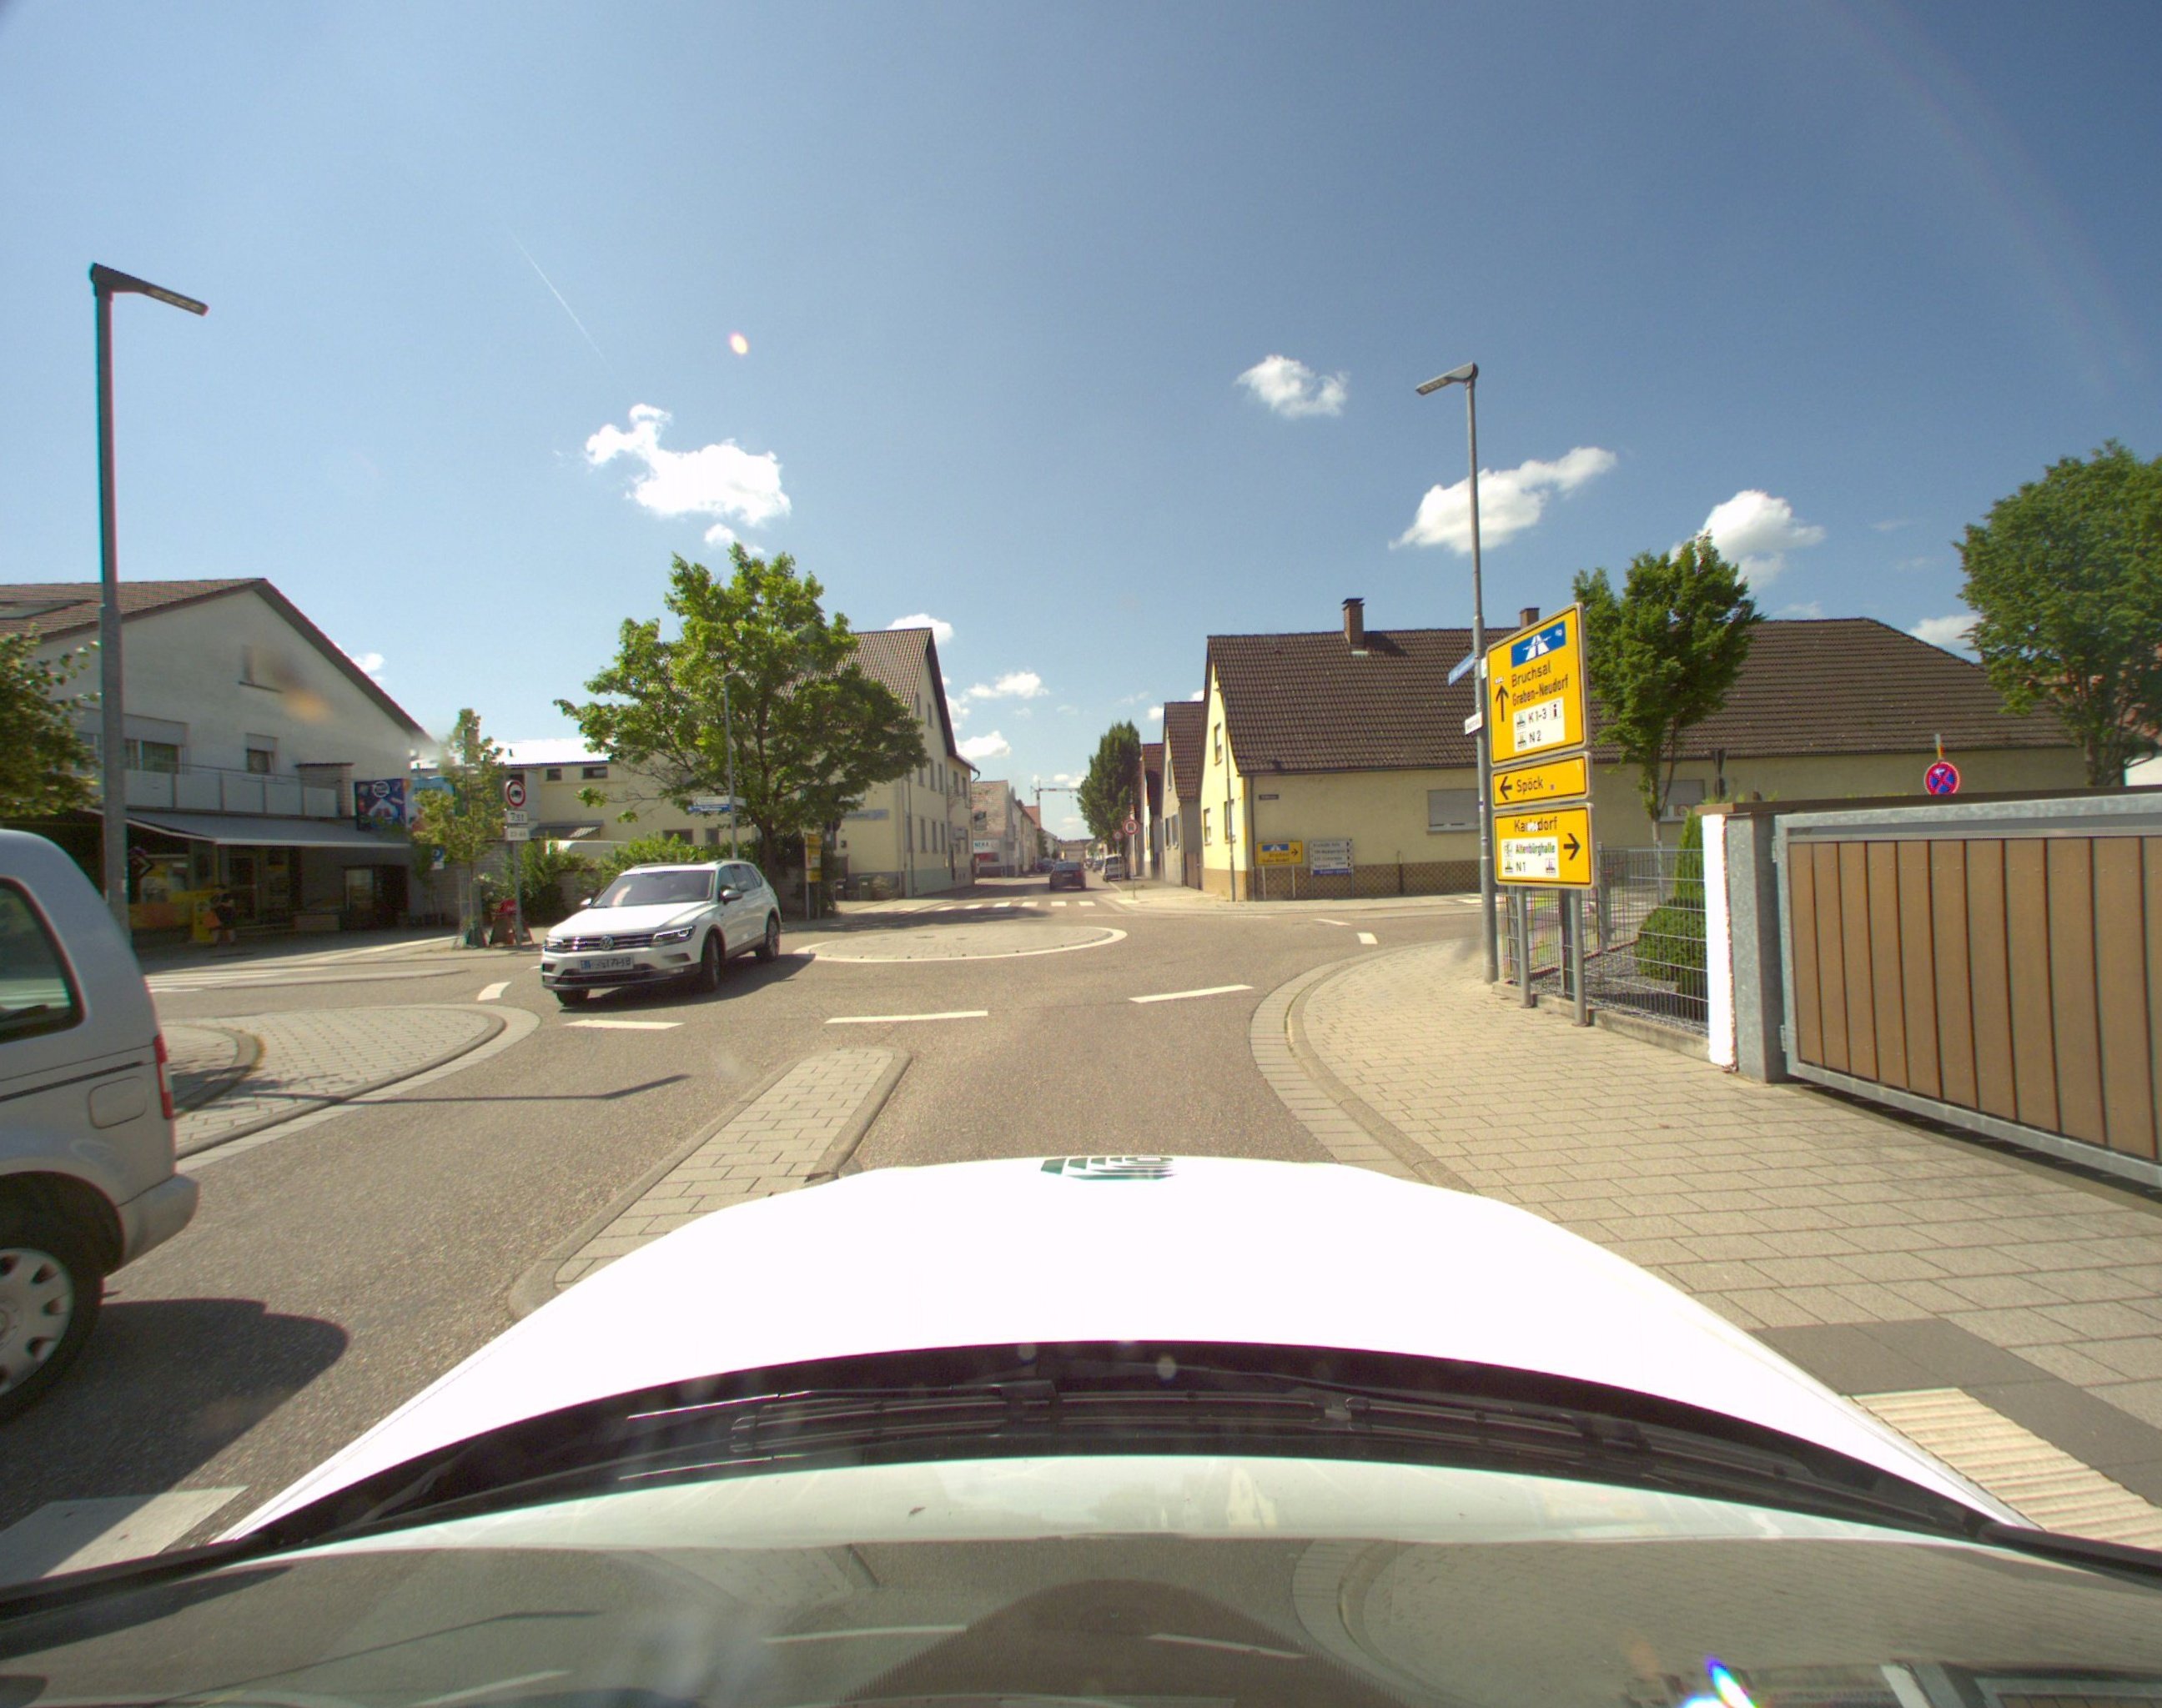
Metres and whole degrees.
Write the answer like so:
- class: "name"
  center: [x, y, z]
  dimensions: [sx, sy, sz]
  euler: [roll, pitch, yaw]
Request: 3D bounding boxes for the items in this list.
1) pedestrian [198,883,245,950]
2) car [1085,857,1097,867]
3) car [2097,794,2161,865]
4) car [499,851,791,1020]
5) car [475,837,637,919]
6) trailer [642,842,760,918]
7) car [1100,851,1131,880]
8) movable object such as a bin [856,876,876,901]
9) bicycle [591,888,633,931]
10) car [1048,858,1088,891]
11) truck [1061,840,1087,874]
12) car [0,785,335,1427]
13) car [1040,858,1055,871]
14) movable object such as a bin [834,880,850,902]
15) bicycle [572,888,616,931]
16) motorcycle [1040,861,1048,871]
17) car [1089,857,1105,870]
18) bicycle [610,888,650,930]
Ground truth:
- class: "pedestrian"
  center: [-21.663, 1.556, 20.533]
  dimensions: [0.869, 1.589, 0.755]
  euler: [-1, 1, 42]
- class: "car"
  center: [1.511, 1.193, 120.798]
  dimensions: [1.714, 1.355, 4.156]
  euler: [-2, 0, 0]
- class: "car"
  center: [32.016, -0.767, 22.972]
  dimensions: [4.454, 1.938, 1.998]
  euler: [-2, 0, -3]
- class: "car"
  center: [-5.592, 0.877, 11.232]
  dimensions: [1.864, 1.709, 4.533]
  euler: [-3, 1, -6]
- class: "car"
  center: [-18.002, 0.761, 28.340]
  dimensions: [1.930, 2.567, 5.647]
  euler: [-1, 0, 0]
- class: "trailer"
  center: [-12.802, 0.824, 27.805]
  dimensions: [1.873, 2.335, 4.523]
  euler: [-1, 0, 0]
- class: "car"
  center: [2.322, 0.786, 55.817]
  dimensions: [1.715, 1.790, 4.140]
  euler: [-4, 0, -2]
- class: "movable object such as a bin"
  center: [-9.357, 1.496, 35.443]
  dimensions: [0.597, 1.079, 0.659]
  euler: [-2, -1, 2]
- class: "bicycle"
  center: [-13.066, 1.523, 22.737]
  dimensions: [0.400, 1.003, 1.974]
  euler: [-2, 1, -12]
- class: "car"
  center: [-0.614, 1.023, 42.277]
  dimensions: [1.895, 1.564, 4.477]
  euler: [-2, 0, 1]
- class: "truck"
  center: [-0.864, 0.464, 108.711]
  dimensions: [3.134, 4.251, 9.303]
  euler: [0, -1, 1]
- class: "car"
  center: [-3.922, 0.758, 1.120]
  dimensions: [1.768, 1.821, 4.436]
  euler: [-4, 0, -3]
- class: "car"
  center: [-4.430, 1.370, 106.860]
  dimensions: [1.804, 1.589, 3.998]
  euler: [-2, 0, -1]
- class: "movable object such as a bin"
  center: [-10.369, 1.600, 35.304]
  dimensions: [0.477, 0.928, 0.547]
  euler: [-2, -1, 2]
- class: "bicycle"
  center: [-13.502, 1.525, 22.615]
  dimensions: [0.400, 1.003, 1.974]
  euler: [-2, 1, -12]
- class: "motorcycle"
  center: [-4.677, 1.537, 102.853]
  dimensions: [0.844, 1.170, 2.467]
  euler: [0, -1, -2]
- class: "car"
  center: [1.874, 1.084, 92.473]
  dimensions: [1.713, 1.461, 4.158]
  euler: [-2, 0, 1]
- class: "bicycle"
  center: [-12.621, 1.521, 22.830]
  dimensions: [0.400, 1.003, 1.974]
  euler: [-2, 1, -12]
